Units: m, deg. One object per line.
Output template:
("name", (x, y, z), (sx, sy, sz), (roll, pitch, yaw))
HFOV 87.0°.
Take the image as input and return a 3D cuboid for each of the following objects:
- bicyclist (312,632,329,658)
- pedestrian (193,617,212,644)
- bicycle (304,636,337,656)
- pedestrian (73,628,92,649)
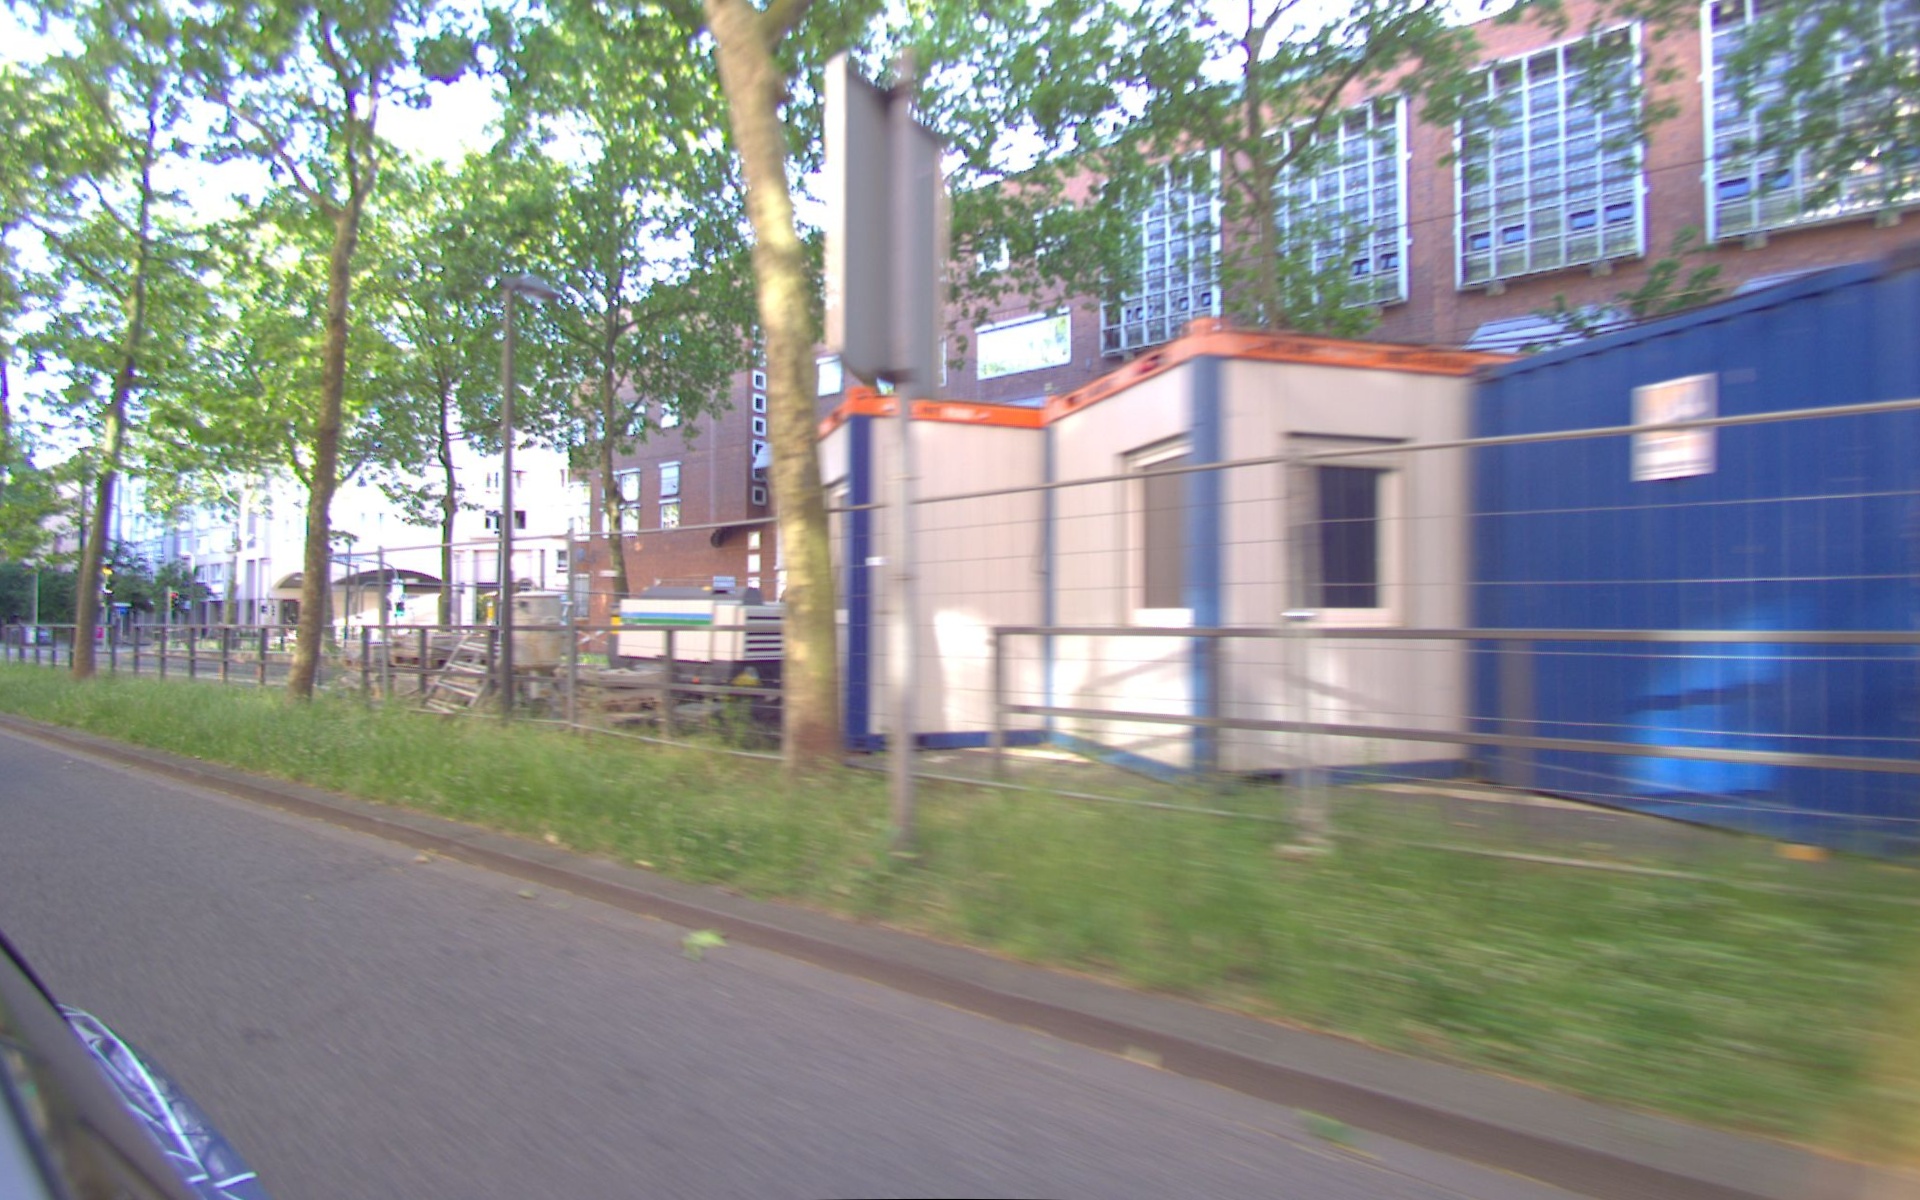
("bicyclist", (-42.068, 2.978, 66.597), (0.660, 1.661, 0.717), (-1, 0, 6))
("pedestrian", (-58.093, 2.353, 77.579), (0.875, 2.029, 0.993), (-1, 0, 40))
("bicycle", (-42.084, 3.047, 66.605), (1.796, 1.271, 0.772), (-1, 0, 6))
("pedestrian", (-69.090, 3.052, 79.673), (0.876, 1.613, 0.993), (-1, 0, 42))
